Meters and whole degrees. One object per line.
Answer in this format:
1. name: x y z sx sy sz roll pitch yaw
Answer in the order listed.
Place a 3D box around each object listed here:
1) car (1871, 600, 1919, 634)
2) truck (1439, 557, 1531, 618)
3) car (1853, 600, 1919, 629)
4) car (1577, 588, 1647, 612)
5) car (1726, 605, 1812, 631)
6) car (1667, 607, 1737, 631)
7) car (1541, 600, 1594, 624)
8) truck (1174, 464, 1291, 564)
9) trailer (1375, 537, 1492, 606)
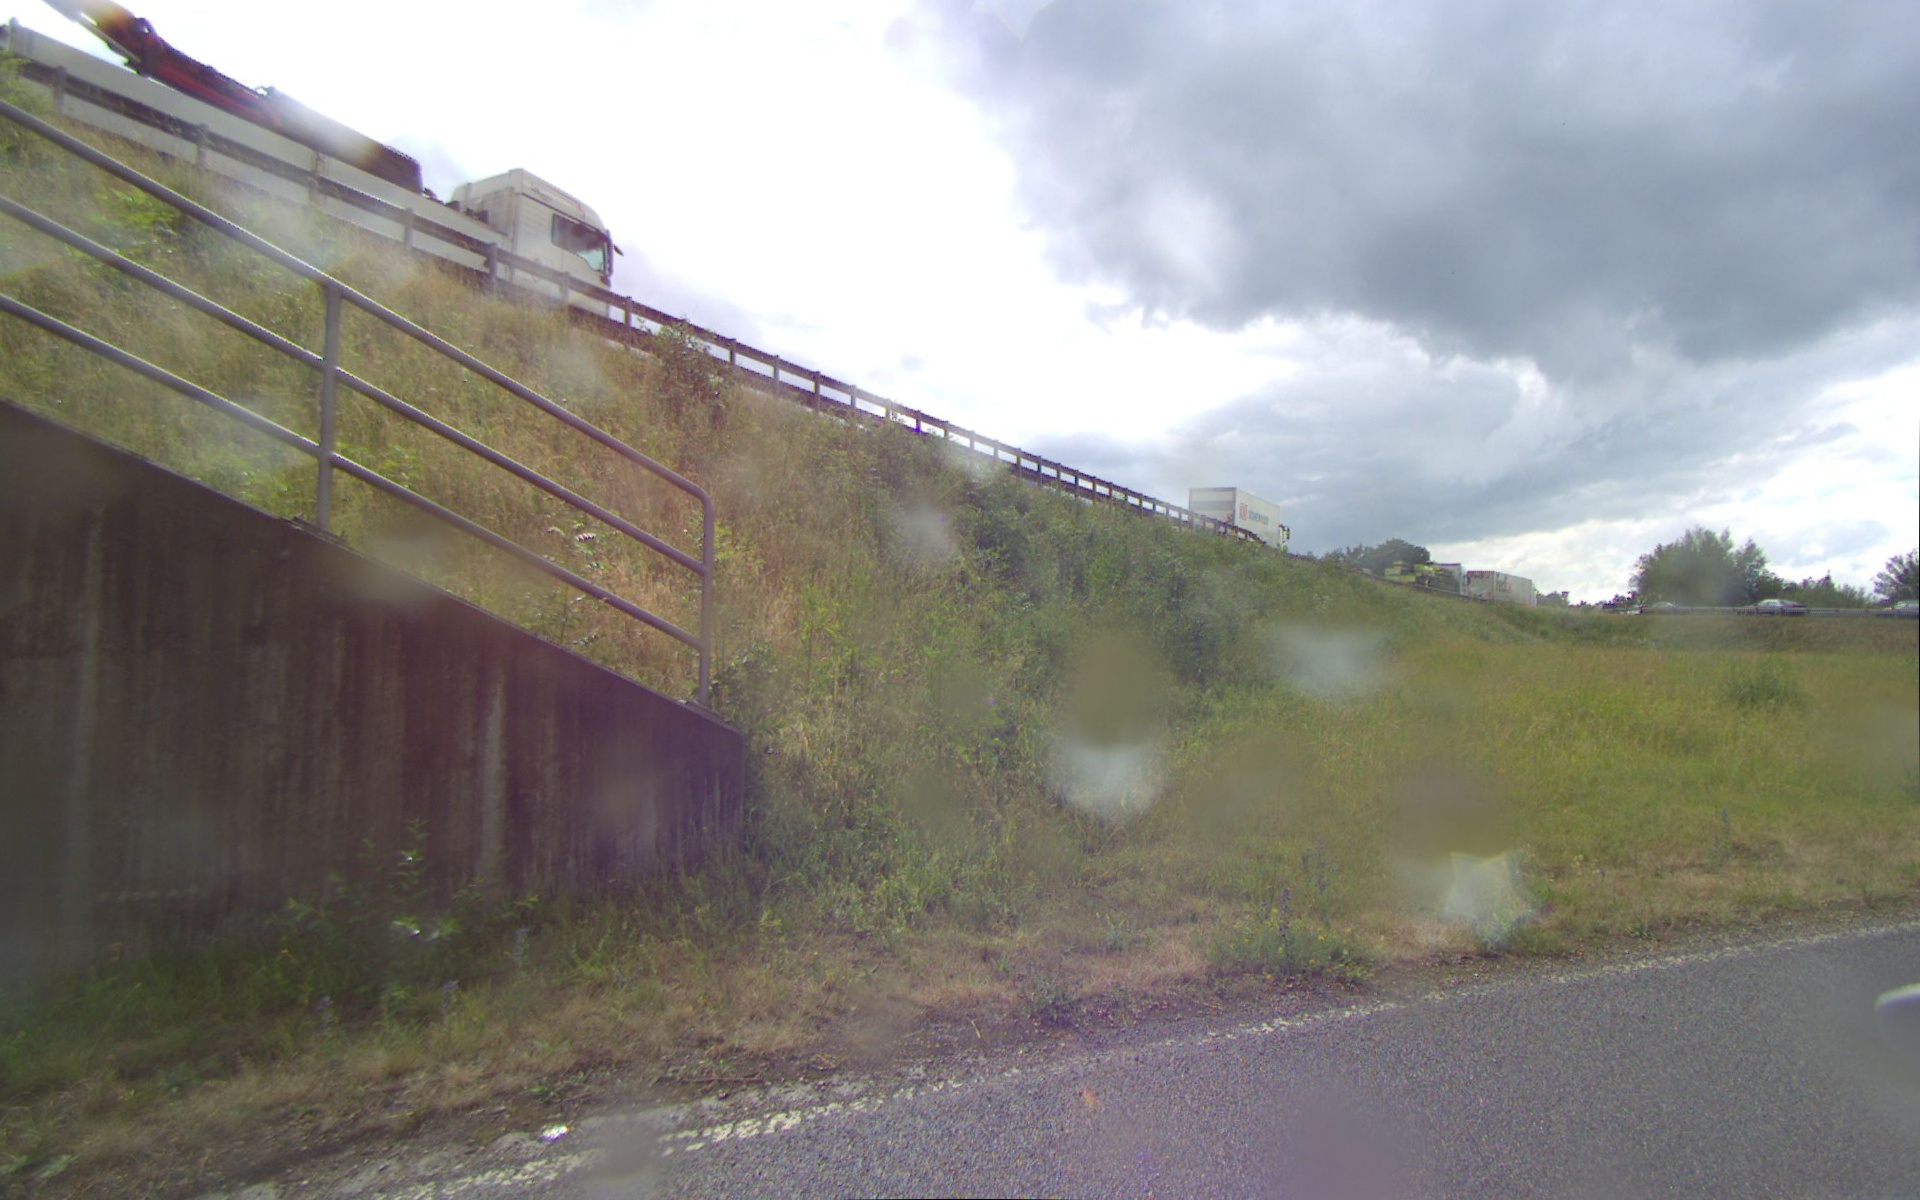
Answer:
1. car: 65.938 1.149 69.442 1.963 2.039 3.998 -8 1 -4
2. truck: 53.773 -1.030 102.340 4.407 4.561 19.295 1 -4 39
3. car: 65.766 1.028 69.986 1.968 1.885 5.041 1 -3 -16
4. car: 59.254 0.027 91.395 1.975 1.885 5.021 2 -3 -28
5. car: 63.601 1.453 79.069 1.968 1.885 5.041 1 -3 -16
6. car: 64.381 1.684 87.234 1.972 1.885 4.485 2 -3 -24
7. car: 55.014 1.102 90.977 3.933 2.040 1.822 1 -3 35
8. truck: 14.947 -4.438 54.443 3.137 4.017 9.212 1 -3 35
9. trailer: 41.541 -2.156 87.353 4.360 4.007 20.133 1 -4 39
